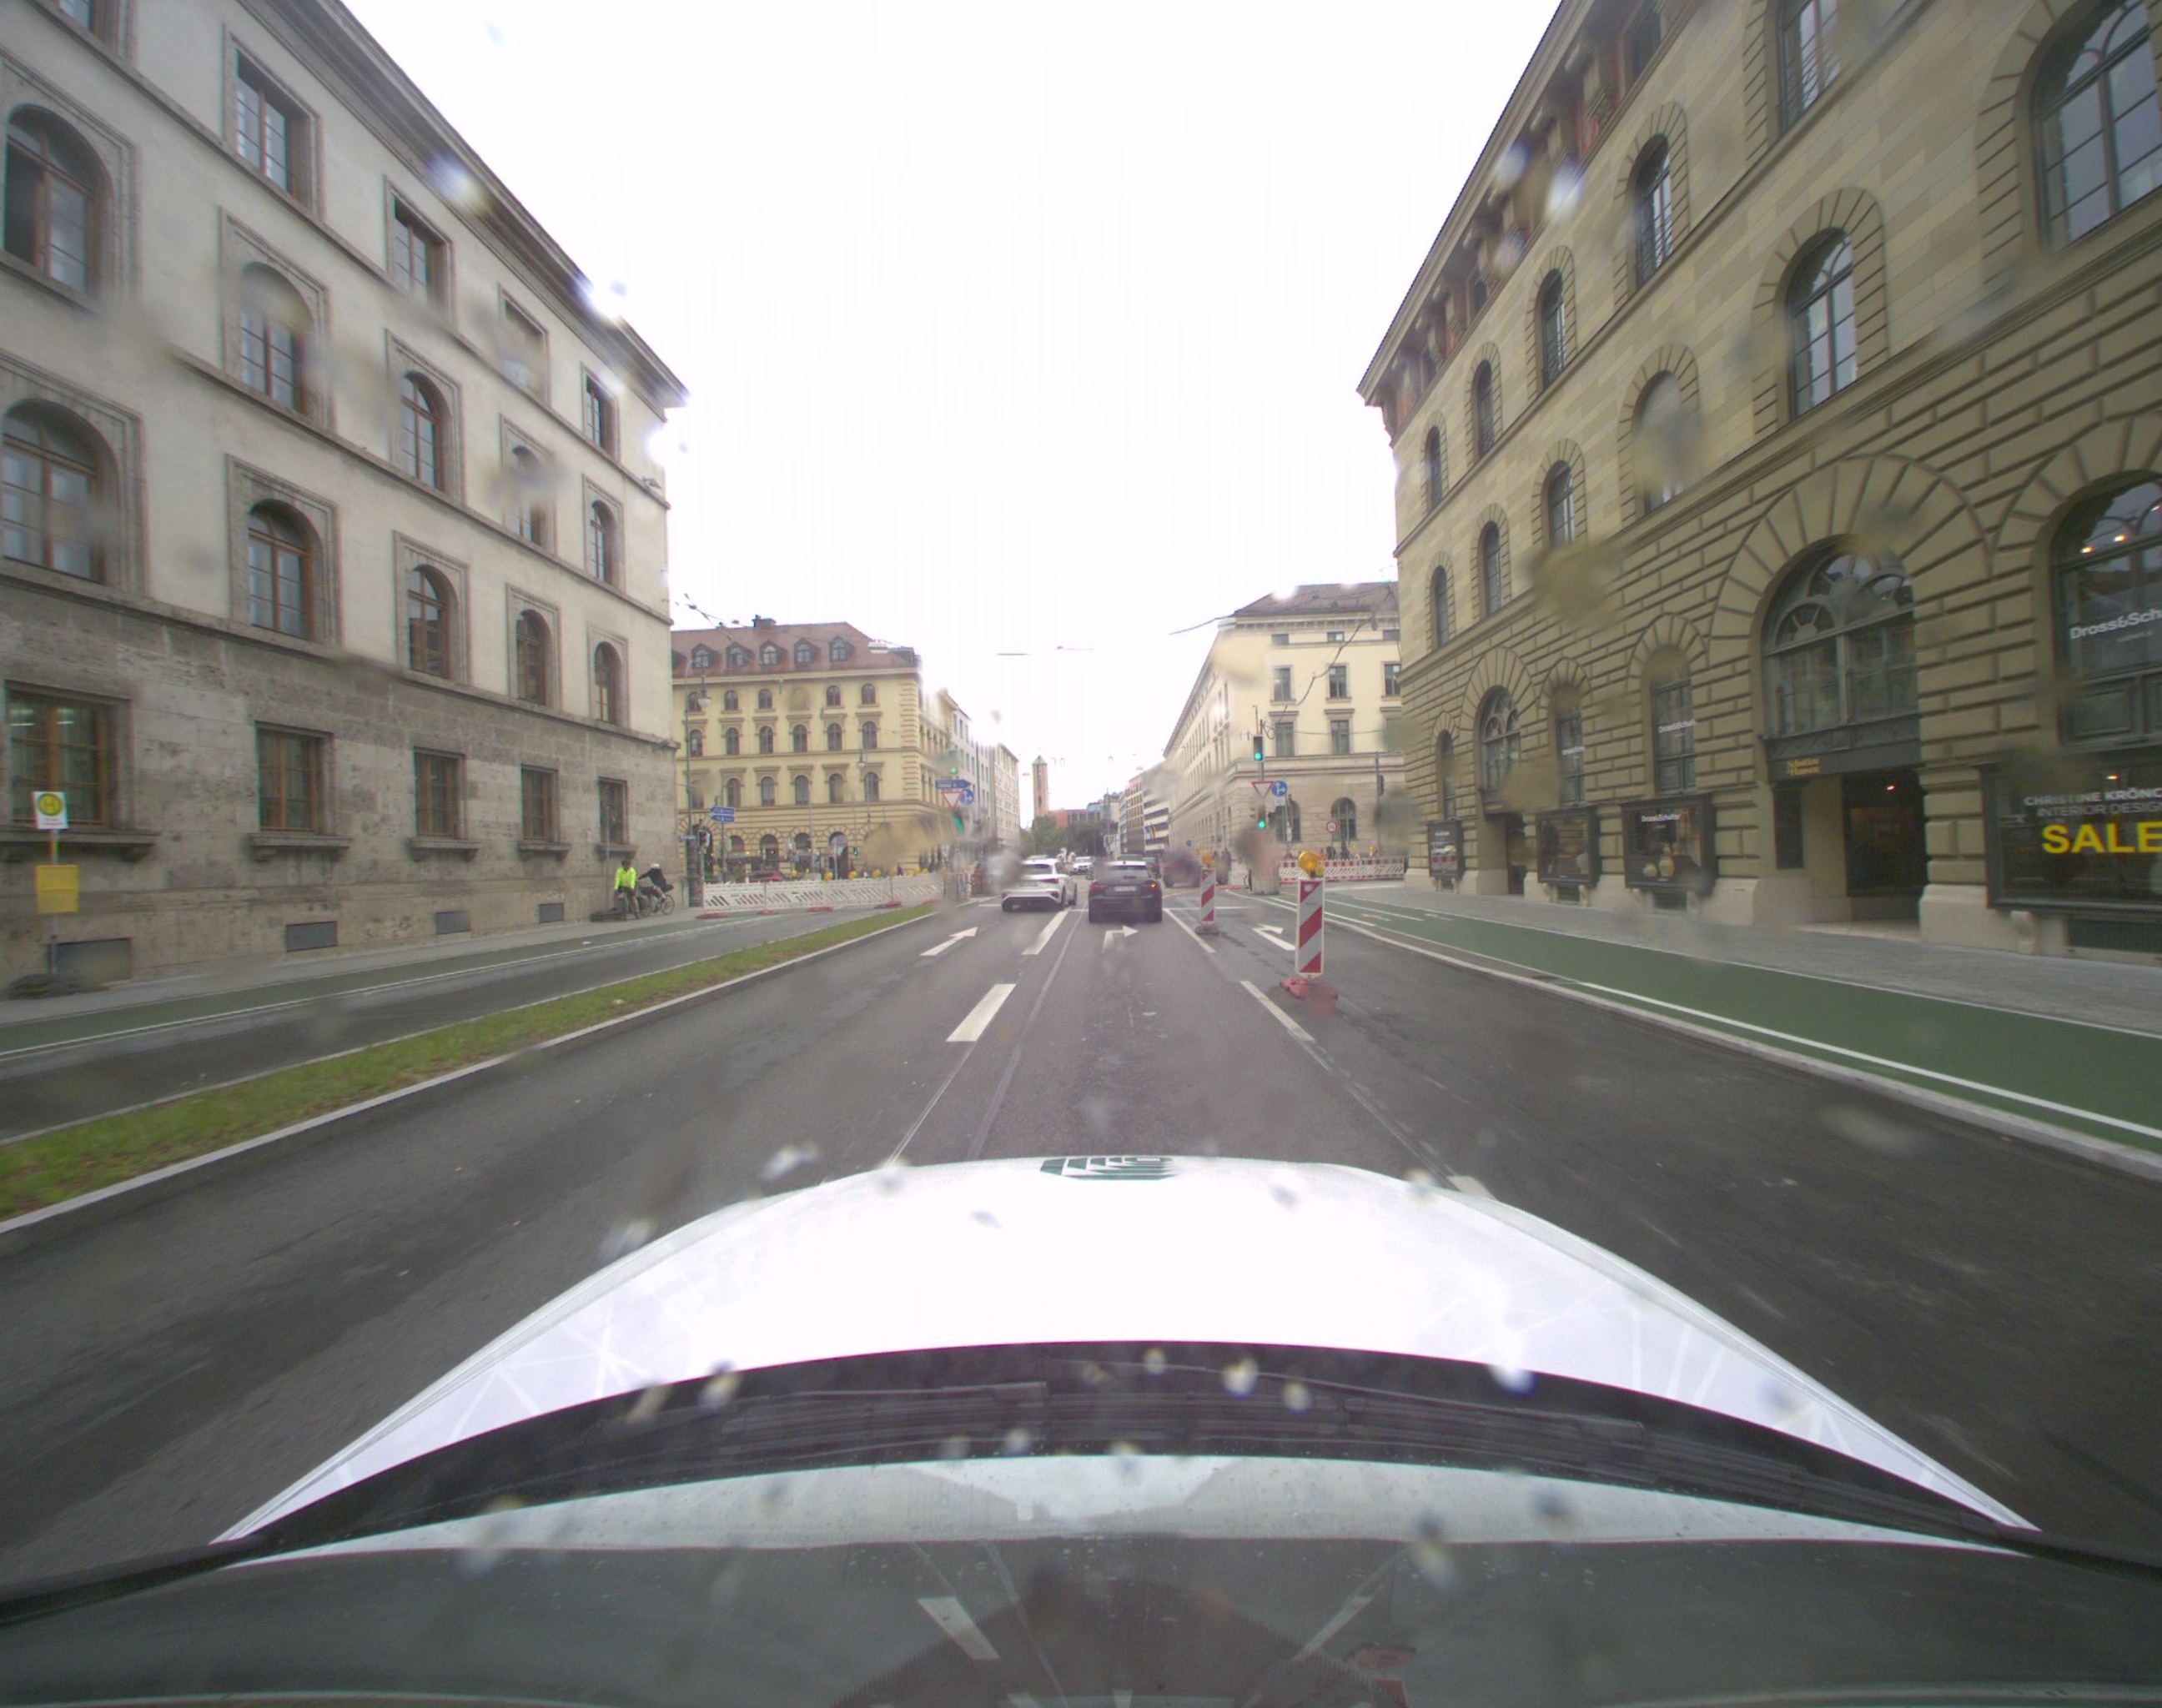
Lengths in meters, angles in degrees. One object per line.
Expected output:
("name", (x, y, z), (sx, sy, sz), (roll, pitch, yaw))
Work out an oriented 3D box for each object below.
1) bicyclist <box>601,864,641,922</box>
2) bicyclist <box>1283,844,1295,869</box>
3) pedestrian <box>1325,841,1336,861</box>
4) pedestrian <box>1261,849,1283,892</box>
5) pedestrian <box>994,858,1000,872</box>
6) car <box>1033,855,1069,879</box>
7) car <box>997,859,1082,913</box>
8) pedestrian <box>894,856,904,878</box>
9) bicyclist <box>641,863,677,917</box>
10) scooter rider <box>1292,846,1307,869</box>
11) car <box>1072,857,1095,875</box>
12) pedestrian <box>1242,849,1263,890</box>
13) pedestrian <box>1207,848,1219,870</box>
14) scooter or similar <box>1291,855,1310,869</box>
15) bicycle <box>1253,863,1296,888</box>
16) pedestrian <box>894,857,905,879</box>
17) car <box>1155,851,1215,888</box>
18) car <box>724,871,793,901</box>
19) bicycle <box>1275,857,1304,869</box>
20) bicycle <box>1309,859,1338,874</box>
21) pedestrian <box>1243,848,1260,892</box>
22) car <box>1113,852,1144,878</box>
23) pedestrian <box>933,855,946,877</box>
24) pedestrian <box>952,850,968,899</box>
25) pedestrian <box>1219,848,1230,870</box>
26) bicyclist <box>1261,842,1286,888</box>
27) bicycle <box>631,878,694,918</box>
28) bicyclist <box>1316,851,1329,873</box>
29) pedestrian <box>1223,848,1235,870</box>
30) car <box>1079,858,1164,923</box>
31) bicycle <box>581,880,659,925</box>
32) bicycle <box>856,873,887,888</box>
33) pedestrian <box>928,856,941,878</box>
("bicyclist", (-14.150, 1.200, 25.060), (0.794, 1.748, 0.690), (-1, 0, 5))
("bicyclist", (15.308, 0.191, 59.949), (0.740, 1.842, 0.661), (-1, 0, 4))
("pedestrian", (20.056, -0.241, 65.402), (0.662, 1.527, 0.820), (-1, 0, 2))
("pedestrian", (7.226, 0.618, 30.796), (0.699, 1.567, 0.682), (-1, 0, 4))
("pedestrian", (-10.497, 1.347, 101.741), (0.734, 1.772, 0.736), (-1, 0, 1))
("car", (-2.309, 1.006, 63.602), (1.781, 1.677, 4.247), (-2, 0, 12))
("car", (-1.128, 0.883, 24.324), (1.804, 1.424, 4.460), (-1, 0, 6))
("pedestrian", (-14.415, 1.024, 64.541), (0.733, 1.772, 0.737), (-1, 0, -8))
("bicyclist", (-14.109, 1.204, 27.237), (0.794, 1.776, 0.690), (-1, 0, 5))
("scooter rider", (15.745, 0.226, 58.624), (0.928, 1.622, 0.593), (-1, 0, 3))
("car", (0.227, 1.094, 75.361), (1.986, 1.524, 4.234), (-2, 0, 1))
("pedestrian", (6.718, 0.606, 31.915), (0.699, 1.567, 0.585), (-1, 0, 4))
("pedestrian", (10.570, 0.371, 65.007), (0.811, 1.755, 0.683), (-1, 0, 18))
("scooter or similar", (15.773, 0.553, 58.621), (1.205, 0.965, 0.588), (-1, 0, 3))
("bicycle", (7.953, 0.870, 33.453), (1.636, 1.011, 0.590), (-1, 0, 44))
("pedestrian", (-14.530, 1.124, 65.286), (0.733, 1.772, 0.737), (-1, 0, -8))
("car", (5.013, 0.702, 38.836), (1.753, 1.617, 4.022), (-1, 0, 23))
("car", (-21.416, 2.099, 54.173), (3.730, 1.798, 1.867), (-2, -1, -2))
("bicycle", (15.351, 0.645, 59.943), (1.963, 0.879, 0.662), (-1, 0, 4))
("bicycle", (17.744, 0.890, 59.635), (1.949, 1.040, 0.796), (-1, 0, 4))
("pedestrian", (6.260, 0.581, 29.943), (0.529, 1.620, 0.674), (-1, 0, 4))
("car", (3.089, 0.718, 53.729), (1.858, 1.601, 3.852), (-2, 0, 2))
("pedestrian", (-11.476, 0.986, 66.194), (0.727, 1.772, 0.743), (-1, 0, 23))
("pedestrian", (-4.373, 0.737, 29.443), (0.512, 1.743, 1.040), (-2, 0, -8))
("pedestrian", (11.496, 0.377, 65.302), (0.578, 1.755, 0.825), (-1, 0, 33))
("bicyclist", (7.919, 0.452, 33.481), (0.789, 1.854, 0.571), (-1, 0, 44))
("bicycle", (-14.078, 1.461, 27.486), (0.783, 1.242, 2.203), (-1, 0, 6))
("bicyclist", (17.674, 0.604, 59.637), (0.740, 1.615, 0.796), (-1, 0, 5))
("pedestrian", (12.004, 0.375, 66.052), (0.578, 1.755, 0.825), (-1, 0, 33))
("car", (0.969, 0.830, 20.199), (1.856, 1.388, 4.002), (-1, 0, 2))
("bicycle", (-14.138, 1.460, 25.074), (0.783, 1.242, 2.453), (-1, 0, 6))
("bicycle", (-15.960, 2.011, 62.145), (2.201, 1.099, 0.595), (-2, -1, -23))
("pedestrian", (-11.790, 1.024, 65.477), (0.727, 1.772, 0.765), (-1, 0, 23))
